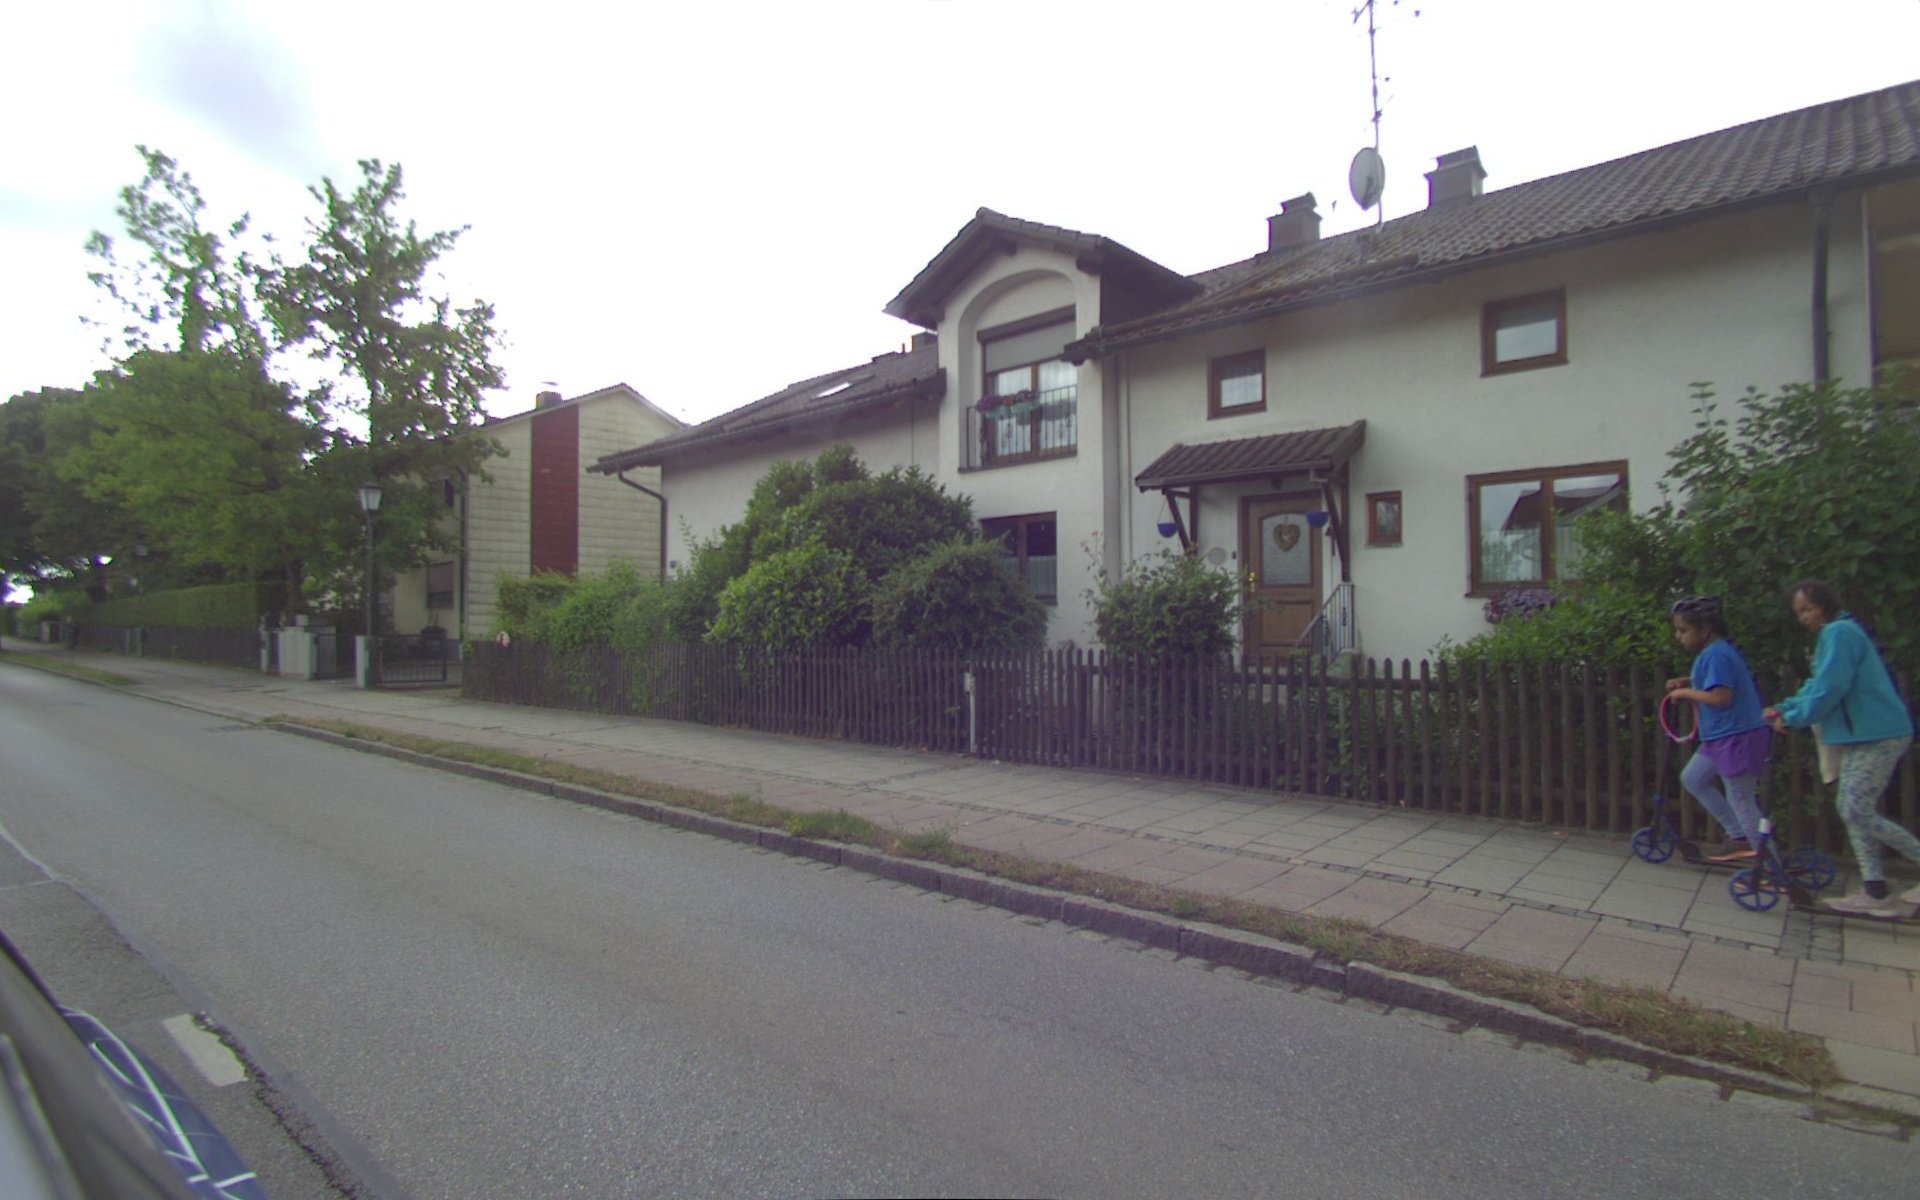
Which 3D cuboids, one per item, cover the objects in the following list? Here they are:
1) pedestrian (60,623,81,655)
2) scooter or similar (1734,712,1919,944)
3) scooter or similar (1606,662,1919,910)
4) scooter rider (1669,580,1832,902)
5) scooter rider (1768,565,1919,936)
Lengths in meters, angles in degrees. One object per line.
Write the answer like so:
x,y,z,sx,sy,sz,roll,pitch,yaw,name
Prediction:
-40.474,1.781,46.039,0.563,1.448,0.622,-1,-2,41,pedestrian
3.994,0.958,4.308,1.061,0.856,0.516,-1,-1,42,scooter or similar
4.014,0.857,5.096,1.178,1.045,0.654,-2,-2,43,scooter or similar
4.000,0.656,5.118,0.580,1.484,0.655,-2,-1,42,scooter rider
3.973,0.610,4.348,0.716,1.501,0.497,-2,-1,44,scooter rider
